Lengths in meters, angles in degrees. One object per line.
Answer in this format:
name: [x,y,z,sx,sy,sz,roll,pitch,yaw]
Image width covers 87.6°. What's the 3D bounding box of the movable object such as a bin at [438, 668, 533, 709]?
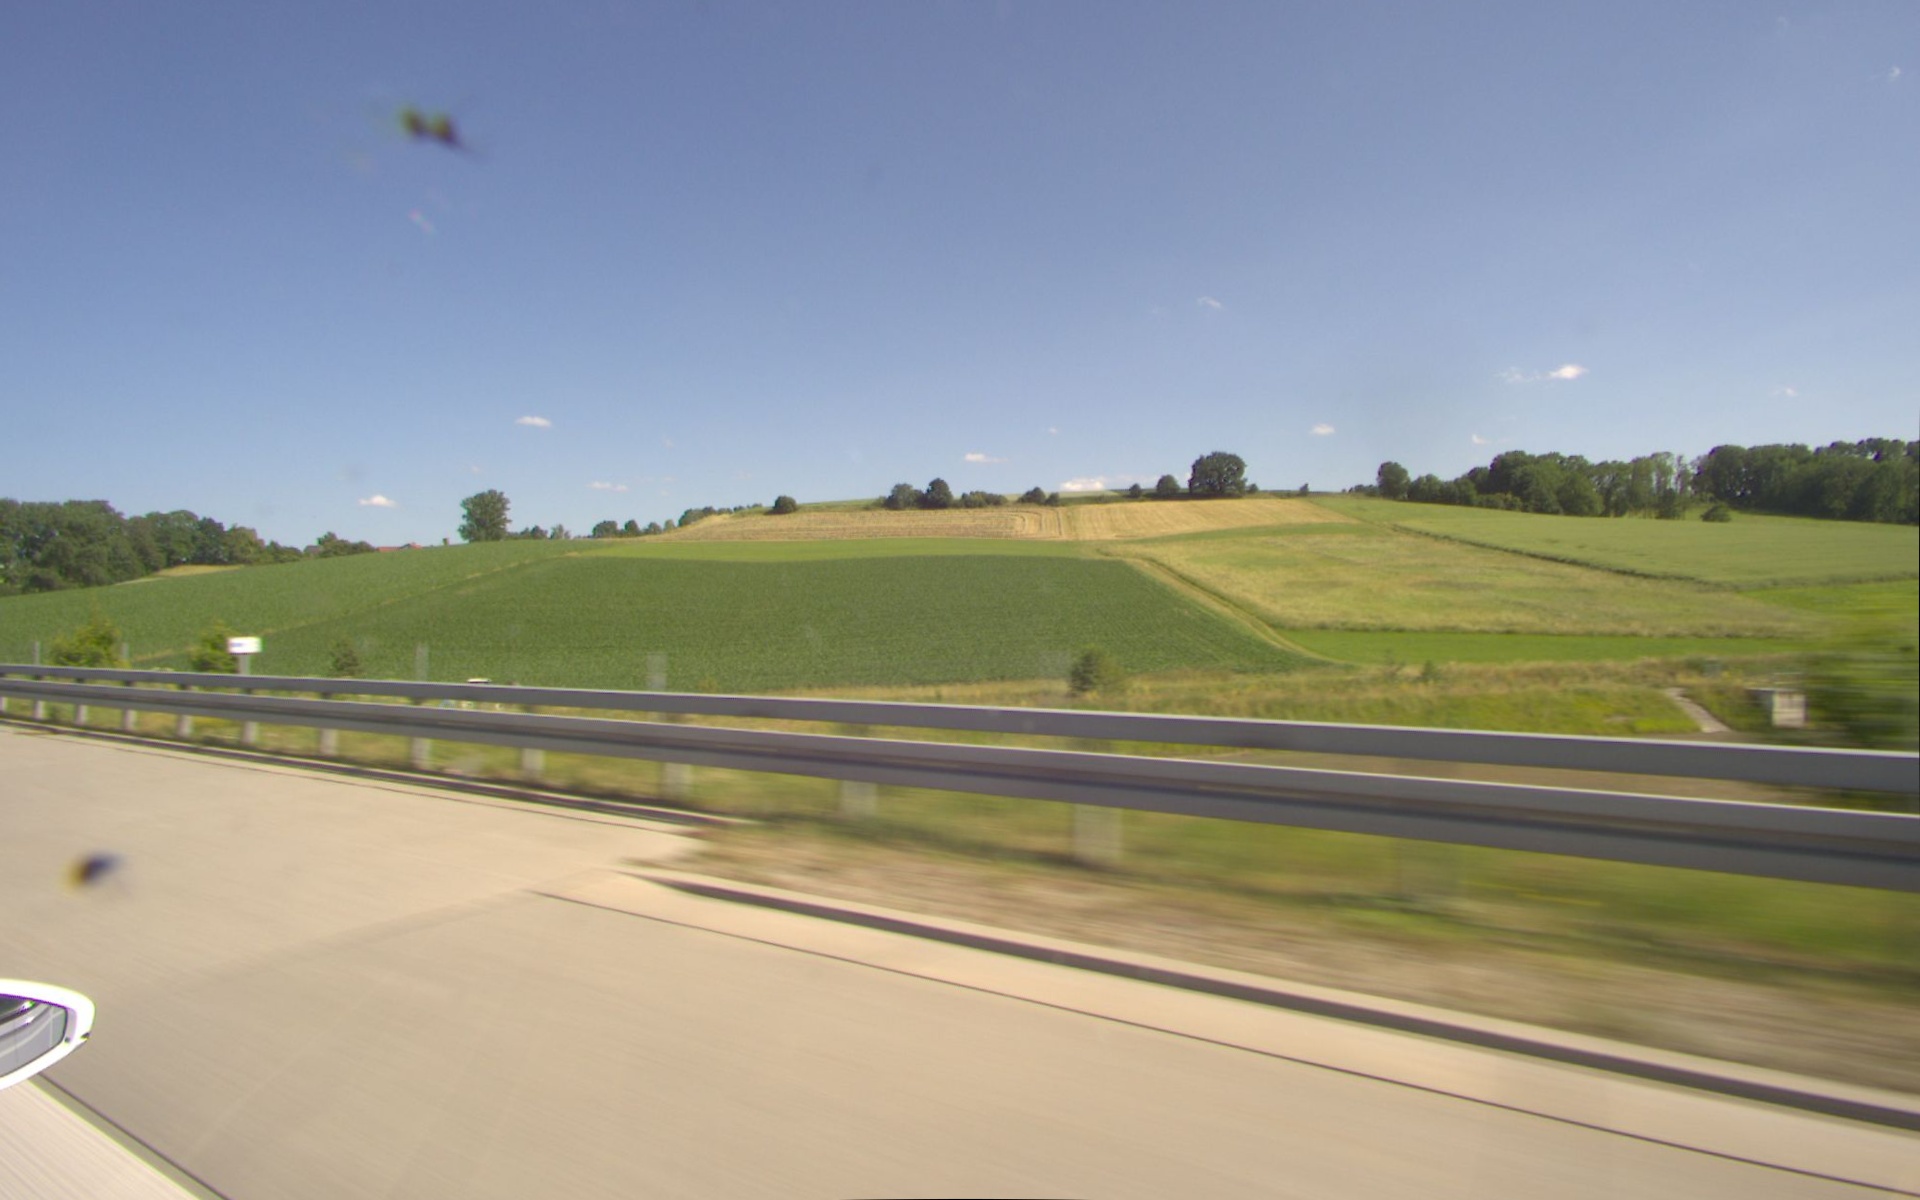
movable object such as a bin: [-36.460,6.773,77.181,6.122,2.805,3.282,0,-2,-17]
